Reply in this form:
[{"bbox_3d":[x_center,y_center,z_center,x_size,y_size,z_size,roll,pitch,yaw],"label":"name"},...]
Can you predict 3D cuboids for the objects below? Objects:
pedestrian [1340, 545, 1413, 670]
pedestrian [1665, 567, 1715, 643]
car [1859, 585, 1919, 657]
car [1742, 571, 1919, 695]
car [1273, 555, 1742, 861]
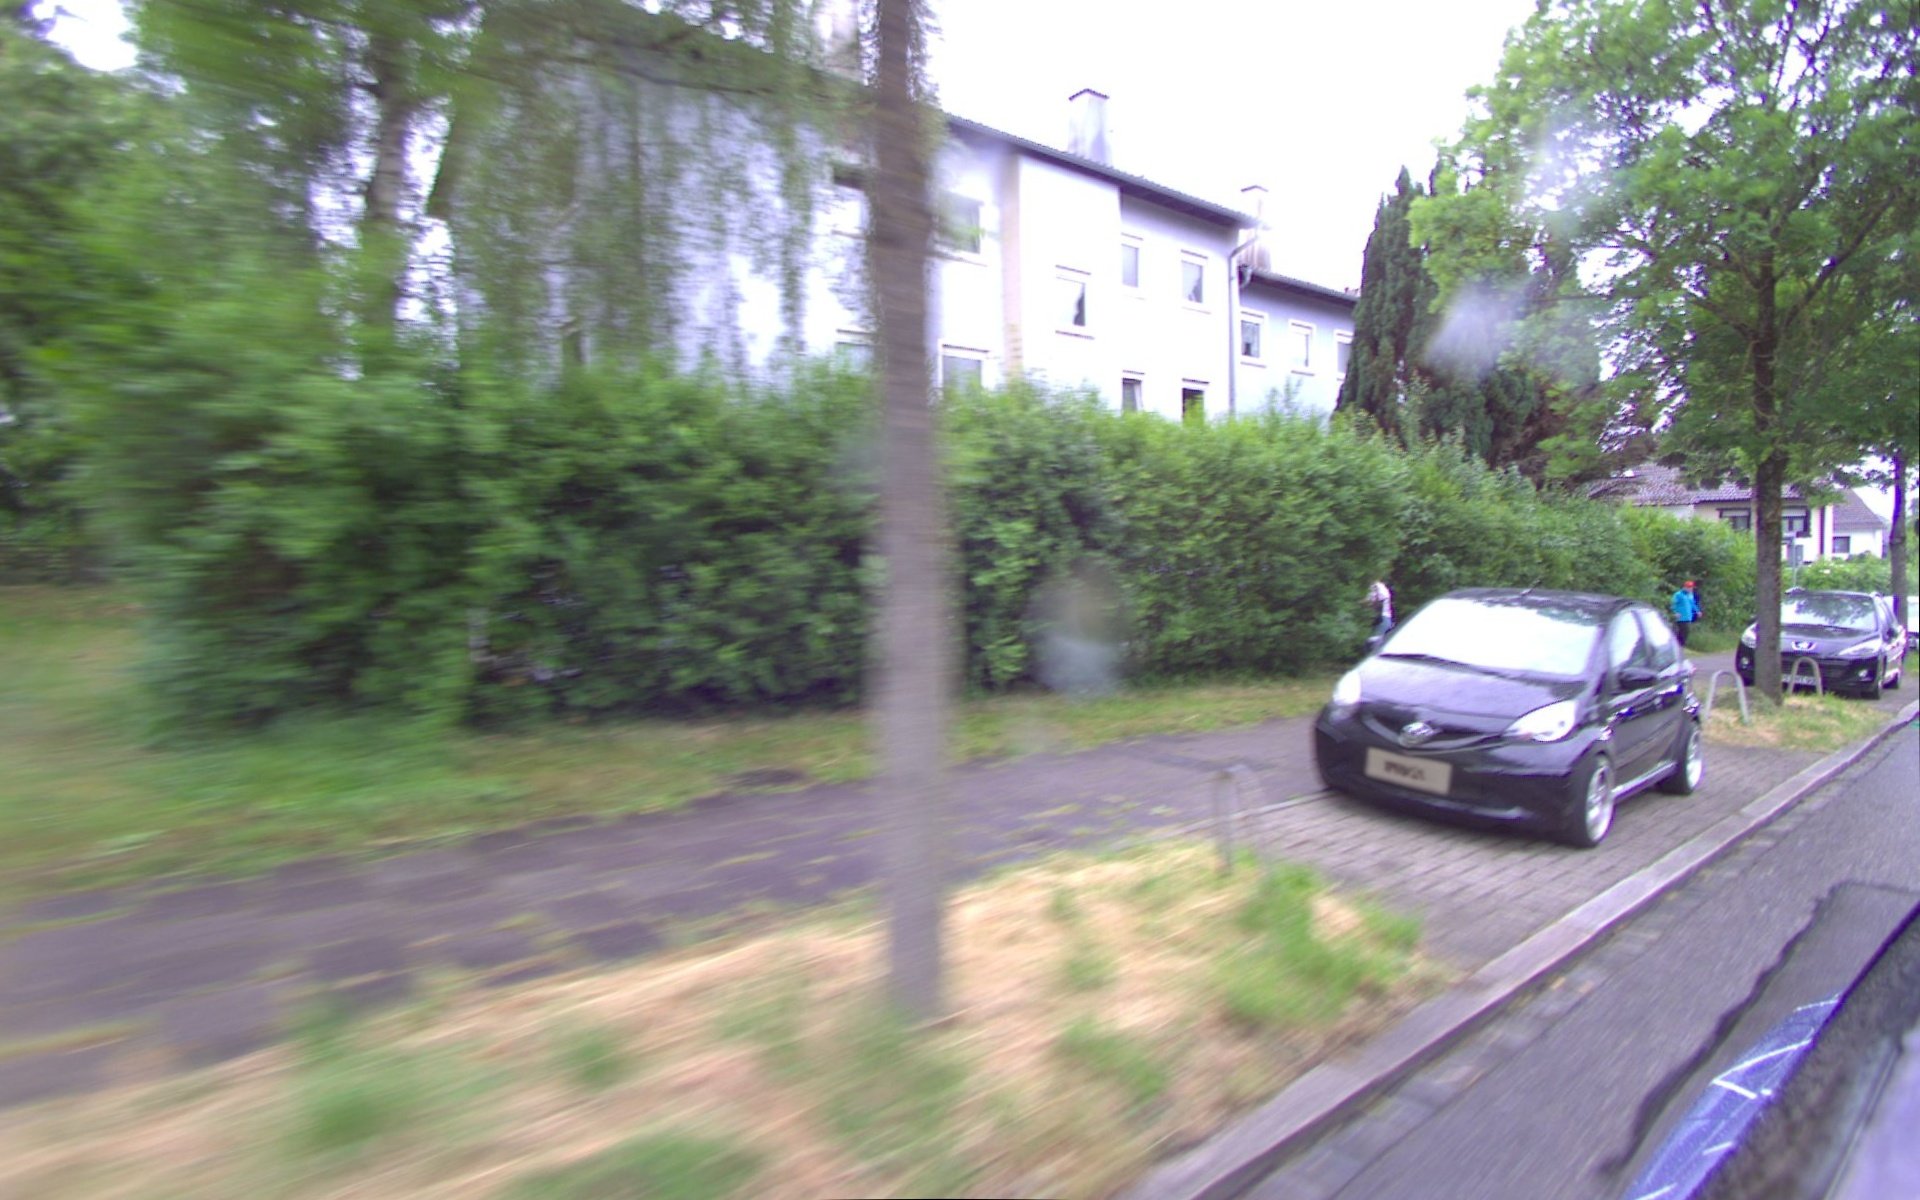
[{"bbox_3d":[5.871,0.083,14.283,0.885,1.700,0.713,2,2,23],"label":"pedestrian"},{"bbox_3d":[16.802,0.112,23.297,0.641,1.700,0.710,0,2,-34],"label":"pedestrian"},{"bbox_3d":[22.659,0.465,23.726,4.512,1.540,1.802,0,3,-42],"label":"car"},{"bbox_3d":[13.614,0.429,15.693,3.946,1.614,1.644,0,4,-43],"label":"car"},{"bbox_3d":[3.955,0.518,7.056,3.722,1.530,1.724,0,3,-43],"label":"car"}]
